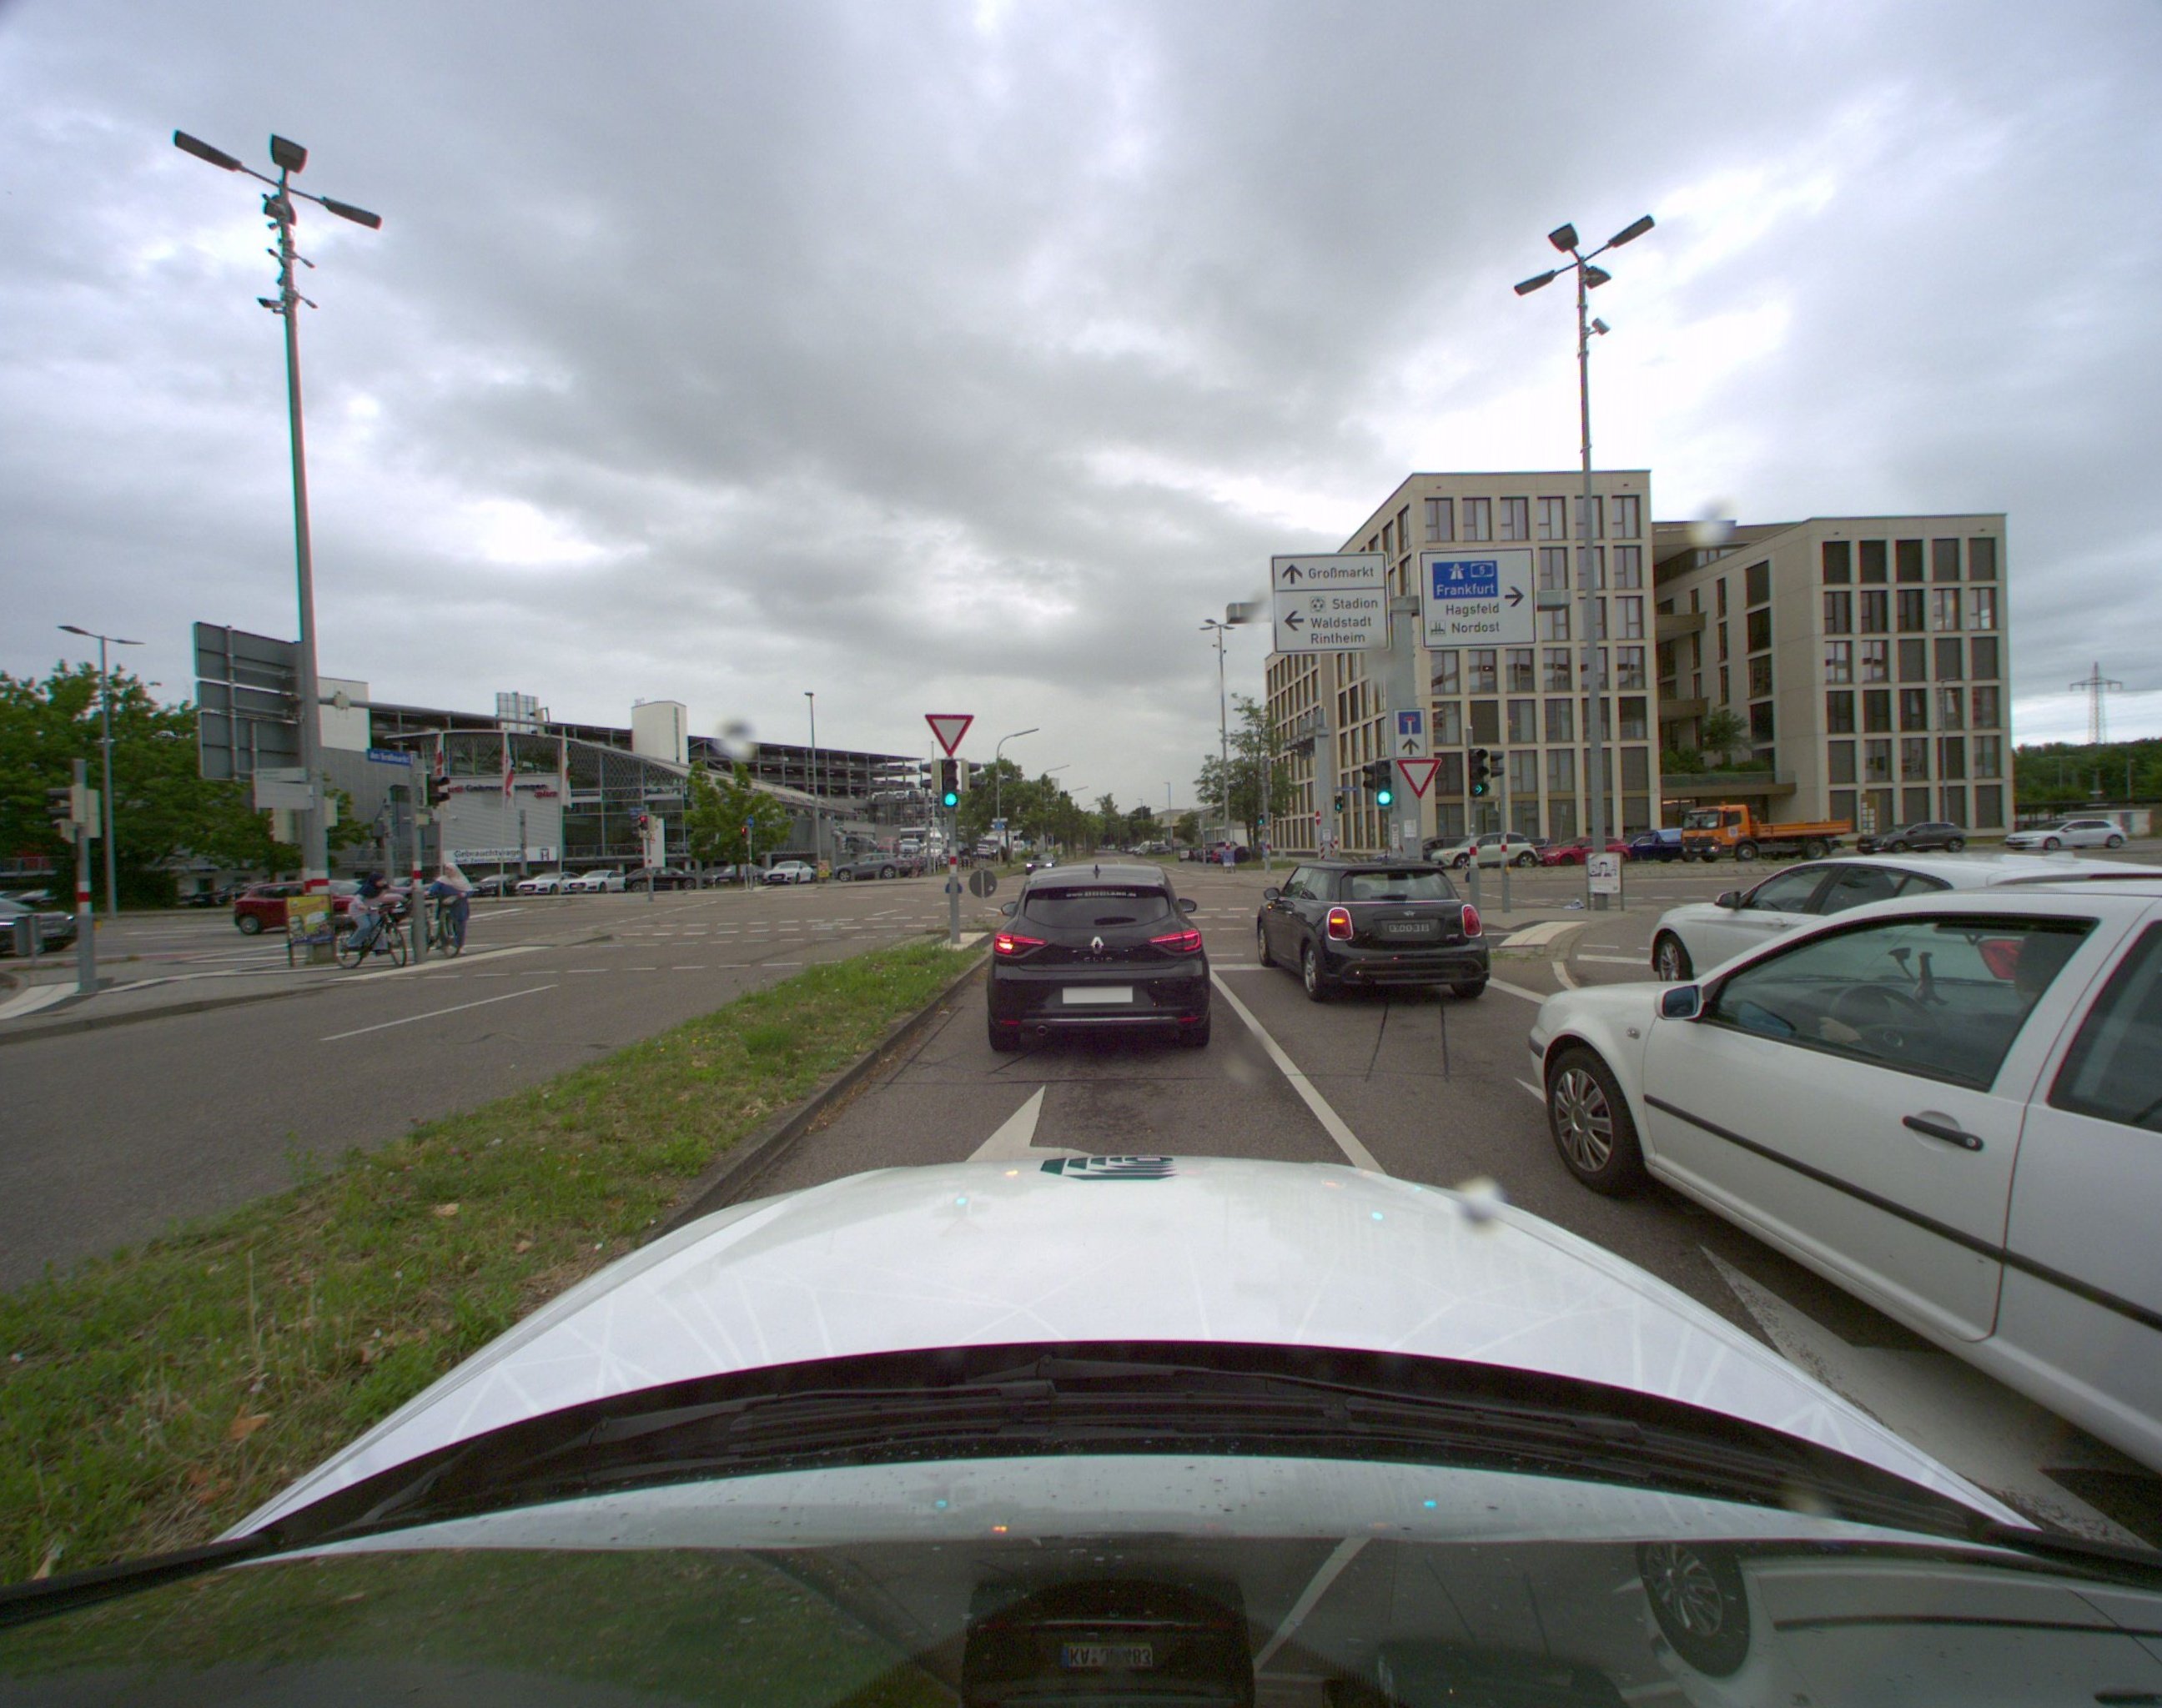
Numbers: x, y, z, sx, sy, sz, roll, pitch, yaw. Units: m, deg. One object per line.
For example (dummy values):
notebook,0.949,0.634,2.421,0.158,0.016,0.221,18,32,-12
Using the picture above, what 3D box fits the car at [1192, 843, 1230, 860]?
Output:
car,12.397,-0.203,77.513,1.676,1.511,3.840,-2,-1,45

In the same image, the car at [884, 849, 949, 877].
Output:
car,-13.636,0.746,67.692,4.882,2.013,1.998,-4,0,-3

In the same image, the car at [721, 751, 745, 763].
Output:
car,-62.126,-17.355,145.262,3.948,1.667,2.013,-1,0,33

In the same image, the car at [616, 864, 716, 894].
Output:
car,-23.739,1.419,46.708,4.726,1.486,1.891,-2,-3,-2

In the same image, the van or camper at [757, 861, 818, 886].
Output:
van or camper,-22.369,1.470,62.134,3.977,1.816,1.846,0,-1,-2

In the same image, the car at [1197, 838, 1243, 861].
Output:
car,12.672,-0.396,74.103,1.975,1.965,4.271,-2,-1,43

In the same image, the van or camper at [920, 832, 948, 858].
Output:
van or camper,-17.178,-1.003,95.289,2.529,3.026,4.840,0,-1,-2

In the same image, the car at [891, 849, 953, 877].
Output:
car,-13.748,0.773,70.528,4.882,2.013,1.998,-4,0,-3

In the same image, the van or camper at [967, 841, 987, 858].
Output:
van or camper,-12.132,-0.495,95.346,1.988,2.014,3.997,0,-1,-2

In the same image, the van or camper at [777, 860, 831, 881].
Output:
van or camper,-23.734,1.419,69.814,3.977,1.711,1.846,0,-1,-2

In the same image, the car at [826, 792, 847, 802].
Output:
car,-49.437,-11.491,164.701,3.948,1.667,2.013,-1,0,33

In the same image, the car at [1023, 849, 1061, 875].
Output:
car,-2.528,0.490,53.976,1.970,1.551,4.617,-2,1,3

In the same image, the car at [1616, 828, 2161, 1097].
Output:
car,6.235,0.583,6.340,1.819,1.410,4.206,0,-1,8

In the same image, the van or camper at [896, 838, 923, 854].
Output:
van or camper,-17.661,-0.797,83.931,1.988,1.651,3.997,0,-1,-2

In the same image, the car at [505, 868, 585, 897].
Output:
car,-30.098,1.618,45.881,1.865,1.486,4.041,-2,-2,-1

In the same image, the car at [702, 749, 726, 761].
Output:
car,-64.423,-17.359,142.837,3.948,1.667,2.013,-1,0,33

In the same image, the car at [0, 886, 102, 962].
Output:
car,-28.091,1.826,20.461,4.311,1.636,1.884,-3,3,-4

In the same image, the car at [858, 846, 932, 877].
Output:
car,-13.587,0.558,59.657,4.938,1.876,2.050,-4,-1,-5

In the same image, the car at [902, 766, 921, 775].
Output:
car,-38.044,-18.714,183.109,3.948,1.667,2.013,-1,0,33

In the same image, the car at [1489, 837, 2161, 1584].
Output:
car,3.072,0.706,2.401,1.826,1.478,4.006,0,-1,2

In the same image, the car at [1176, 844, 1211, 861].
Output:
car,11.567,-0.131,83.850,3.451,1.732,1.745,0,-1,-40

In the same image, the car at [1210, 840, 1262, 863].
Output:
car,12.680,-0.182,66.507,4.153,1.768,1.867,-1,-1,-38

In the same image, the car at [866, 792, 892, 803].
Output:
car,-43.729,-12.203,176.252,5.263,1.945,2.225,-1,0,30

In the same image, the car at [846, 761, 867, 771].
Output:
car,-46.682,-18.269,169.089,3.948,1.667,2.013,-1,0,33

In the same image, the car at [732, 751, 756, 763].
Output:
car,-61.000,-17.559,147.418,3.948,1.667,2.013,-1,0,33

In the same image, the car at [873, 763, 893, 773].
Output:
car,-42.675,-18.528,175.807,3.948,1.667,2.013,-1,0,33

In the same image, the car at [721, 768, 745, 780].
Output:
car,-62.076,-14.246,145.152,3.948,1.667,2.013,-1,0,33

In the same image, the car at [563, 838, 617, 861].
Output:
car,-37.734,-0.303,62.694,1.815,1.662,3.996,0,-1,-3

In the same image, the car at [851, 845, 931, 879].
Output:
car,-13.252,0.545,57.019,5.011,2.013,2.264,-4,0,-3

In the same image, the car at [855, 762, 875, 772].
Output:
car,-45.505,-18.299,171.687,3.948,1.667,2.013,-1,0,33

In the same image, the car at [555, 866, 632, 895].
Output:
car,-27.535,1.506,46.165,1.841,1.486,4.196,-2,-2,-1

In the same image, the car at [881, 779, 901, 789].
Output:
car,-41.411,-15.245,177.694,3.948,1.667,2.013,-1,0,33

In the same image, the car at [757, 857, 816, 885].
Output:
car,-16.888,1.001,46.924,1.863,1.486,4.227,-3,-2,-1

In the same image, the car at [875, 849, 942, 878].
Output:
car,-13.724,0.754,64.972,4.882,2.013,1.998,-4,0,-3

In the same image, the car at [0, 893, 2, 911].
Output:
car,-63.243,2.835,44.962,1.808,1.486,4.072,0,-5,-2

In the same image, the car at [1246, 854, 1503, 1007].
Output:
car,3.094,0.732,9.400,1.779,1.416,3.645,0,-1,2

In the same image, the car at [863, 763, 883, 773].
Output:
car,-44.280,-18.373,173.637,3.948,1.667,2.013,-1,0,33

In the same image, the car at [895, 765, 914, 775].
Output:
car,-39.221,-18.673,181.192,3.948,1.667,2.013,-1,0,33

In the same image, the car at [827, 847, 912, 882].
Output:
car,-13.307,0.639,51.438,4.761,1.862,1.998,-4,0,-3

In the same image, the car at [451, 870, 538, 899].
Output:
car,-32.844,1.727,45.738,1.860,1.486,4.229,-2,-2,-1

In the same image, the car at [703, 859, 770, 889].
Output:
car,-19.690,1.196,46.800,2.059,1.486,4.511,-3,-2,-3

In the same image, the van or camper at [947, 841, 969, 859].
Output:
van or camper,-14.331,-0.480,95.207,1.988,2.014,3.997,0,-1,-2

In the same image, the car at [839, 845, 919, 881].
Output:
car,-13.329,0.582,54.011,4.690,2.013,1.998,-4,0,-3

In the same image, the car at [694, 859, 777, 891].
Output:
car,-23.776,1.425,56.186,4.788,1.939,1.999,-2,0,-1

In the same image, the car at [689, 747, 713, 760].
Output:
car,-65.621,-17.369,140.689,3.948,1.667,2.013,-1,0,33

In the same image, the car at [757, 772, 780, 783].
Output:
car,-58.101,-14.214,151.237,3.948,1.667,2.013,-1,0,33

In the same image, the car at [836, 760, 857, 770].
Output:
car,-48.128,-18.195,166.820,3.948,1.667,2.013,-1,0,33

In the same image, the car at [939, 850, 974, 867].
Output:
car,-15.203,0.542,99.462,3.975,2.014,1.999,0,-1,-1

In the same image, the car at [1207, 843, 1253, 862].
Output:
car,12.992,-0.139,70.890,4.157,1.551,1.865,-1,-1,-43

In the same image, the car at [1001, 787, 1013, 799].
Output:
car,-14.520,-11.972,159.509,1.989,1.882,3.996,-2,-1,-2

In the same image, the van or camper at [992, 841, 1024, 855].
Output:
van or camper,-13.488,-1.093,150.570,5.580,2.372,2.000,0,-1,0

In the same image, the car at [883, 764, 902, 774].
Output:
car,-41.198,-18.518,177.882,3.948,1.667,2.013,-1,0,33

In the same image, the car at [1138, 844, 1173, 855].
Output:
car,11.267,-0.673,123.320,5.158,1.720,2.143,0,-1,-1
